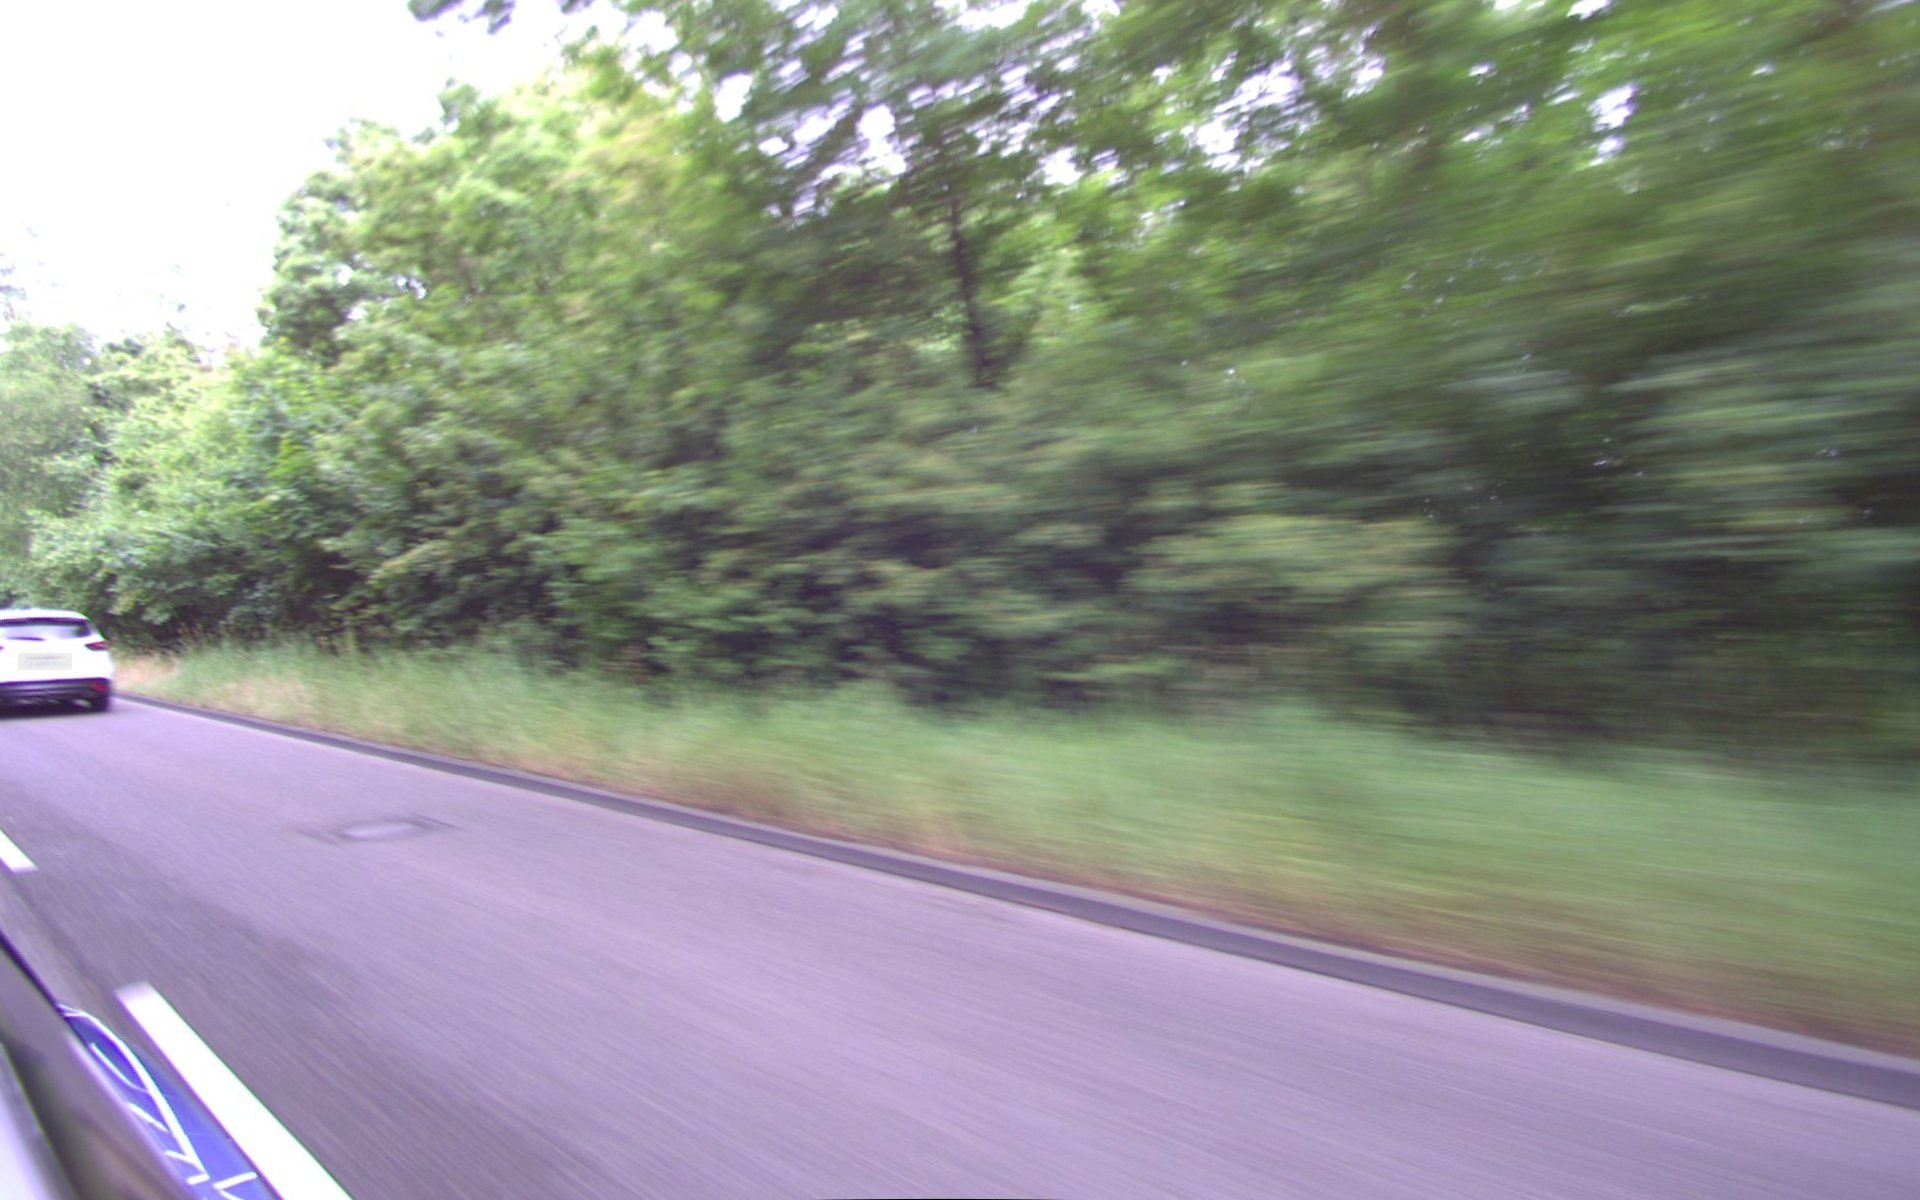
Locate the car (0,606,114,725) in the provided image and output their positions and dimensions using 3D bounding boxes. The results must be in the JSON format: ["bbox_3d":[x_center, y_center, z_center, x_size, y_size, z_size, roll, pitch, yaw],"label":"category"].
[{"bbox_3d":[-15.508,0.989,16.547,4.283,1.707,1.801,-1,1,40],"label":"car"}]
